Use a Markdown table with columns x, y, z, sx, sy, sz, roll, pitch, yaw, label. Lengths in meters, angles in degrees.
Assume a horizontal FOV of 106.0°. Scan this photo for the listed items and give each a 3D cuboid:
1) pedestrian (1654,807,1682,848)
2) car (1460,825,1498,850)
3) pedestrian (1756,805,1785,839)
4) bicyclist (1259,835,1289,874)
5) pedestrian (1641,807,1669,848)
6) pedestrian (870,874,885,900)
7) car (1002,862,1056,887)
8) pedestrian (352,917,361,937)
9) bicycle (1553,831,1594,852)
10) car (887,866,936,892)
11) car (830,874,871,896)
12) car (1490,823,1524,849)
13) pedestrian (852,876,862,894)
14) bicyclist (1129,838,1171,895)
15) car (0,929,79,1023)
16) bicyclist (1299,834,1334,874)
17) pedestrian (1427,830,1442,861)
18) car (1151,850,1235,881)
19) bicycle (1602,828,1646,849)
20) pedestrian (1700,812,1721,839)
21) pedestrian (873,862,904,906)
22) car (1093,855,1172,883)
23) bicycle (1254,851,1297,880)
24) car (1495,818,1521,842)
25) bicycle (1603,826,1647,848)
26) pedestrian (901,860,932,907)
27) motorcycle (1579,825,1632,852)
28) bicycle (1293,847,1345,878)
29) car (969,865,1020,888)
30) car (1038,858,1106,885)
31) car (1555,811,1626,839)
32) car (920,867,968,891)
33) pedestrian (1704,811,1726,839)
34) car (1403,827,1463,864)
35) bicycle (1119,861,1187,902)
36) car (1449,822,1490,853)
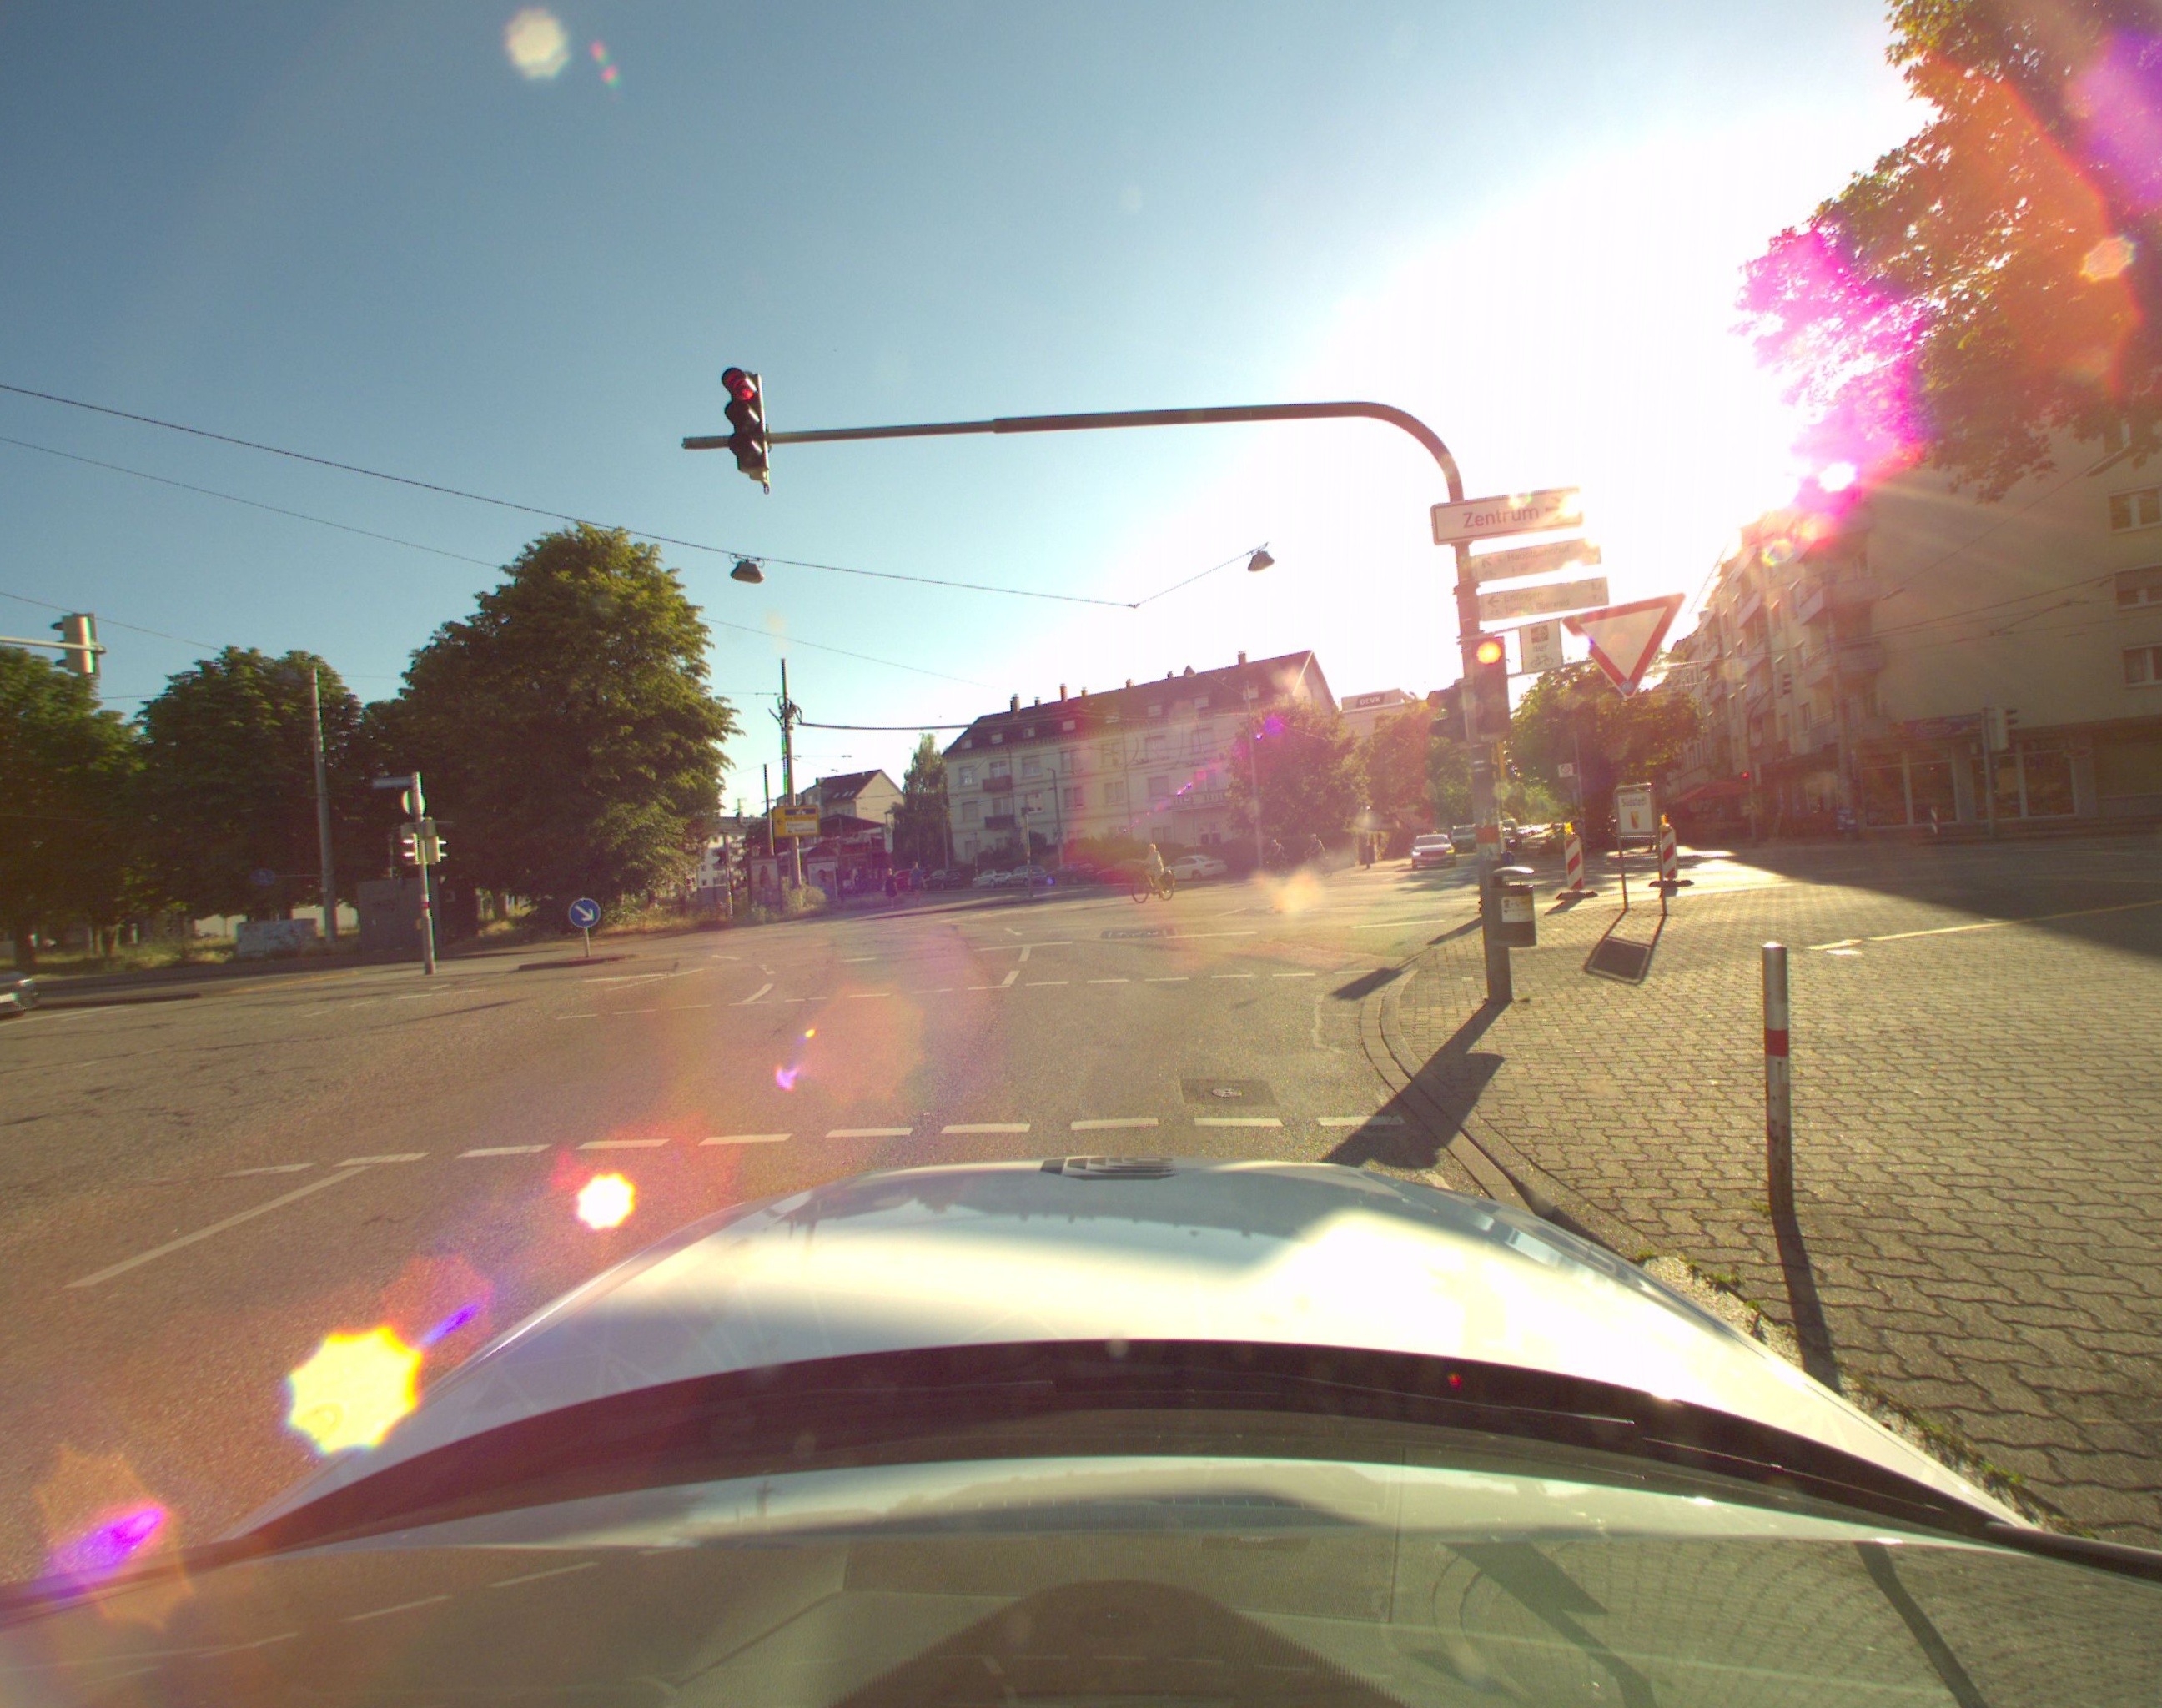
| x | y | z | sx | sy | sz | roll | pitch | yaw | label |
| --- | --- | --- | --- | --- | --- | --- | --- | --- | --- |
| 25.845 | -1.174 | 35.855 | 0.799 | 1.750 | 0.685 | -4 | -1 | -38 | pedestrian |
| 31.695 | -1.335 | 64.749 | 2.332 | 1.795 | 5.343 | -5 | -1 | 28 | car |
| 33.762 | -1.556 | 39.888 | 0.804 | 1.544 | 0.919 | -5 | -1 | 25 | pedestrian |
| 8.057 | 0.017 | 33.960 | 1.043 | 1.532 | 0.653 | -4 | -1 | -42 | bicyclist |
| 25.970 | -1.202 | 36.845 | 0.799 | 1.750 | 0.710 | -4 | -1 | -38 | pedestrian |
| -16.503 | 2.646 | 66.055 | 0.928 | 2.013 | 0.761 | -4 | 0 | -34 | pedestrian |
| -3.741 | 1.459 | 58.117 | 1.998 | 1.447 | 3.676 | -7 | 1 | -39 | car |
| -58.602 | 5.905 | 65.877 | 0.406 | 1.507 | 0.370 | -4 | -1 | -26 | pedestrian |
| 24.921 | -0.639 | 41.197 | 1.707 | 0.932 | 0.676 | -5 | -1 | 31 | bicycle |
| -15.199 | 2.234 | 72.765 | 2.067 | 1.961 | 5.091 | -7 | 1 | -39 | car |
| -23.839 | 3.196 | 83.951 | 2.067 | 1.961 | 5.091 | -7 | 1 | -39 | car |
| 29.960 | -1.263 | 57.214 | 1.875 | 1.564 | 4.420 | -6 | -1 | 30 | car |
| -18.470 | 2.551 | 67.038 | 0.569 | 1.500 | 0.672 | -4 | -1 | -27 | pedestrian |
| 2.046 | 0.383 | 24.125 | 0.860 | 1.605 | 0.769 | -4 | -1 | -31 | bicyclist |
| -21.394 | 2.368 | 14.634 | 4.415 | 1.567 | 2.057 | -4 | 0 | 5 | car |
| 9.432 | -0.003 | 32.611 | 1.040 | 1.532 | 0.692 | -4 | -1 | -28 | bicyclist |
| 21.865 | -0.518 | 50.334 | 0.655 | 1.839 | 0.687 | -4 | -1 | 30 | pedestrian |
| 6.273 | 0.674 | 46.126 | 1.941 | 1.376 | 4.443 | -7 | 1 | -40 | car |
| 26.870 | -0.771 | 40.321 | 1.707 | 0.932 | 0.565 | -5 | -1 | 31 | bicycle |
| 34.057 | -1.525 | 44.061 | 0.803 | 1.362 | 0.920 | -5 | -1 | 36 | pedestrian |
| -8.032 | 1.238 | 34.042 | 0.908 | 1.747 | 1.068 | -4 | -1 | 2 | pedestrian |
| 3.126 | 0.944 | 50.197 | 1.999 | 1.376 | 4.647 | -7 | 1 | -44 | car |
| 8.105 | 0.486 | 33.956 | 2.031 | 1.069 | 0.655 | -4 | -1 | -43 | bicycle |
| 47.952 | -2.697 | 91.342 | 2.332 | 2.514 | 5.343 | -5 | -1 | 28 | car |
| 26.472 | -0.818 | 39.657 | 1.707 | 0.932 | 0.565 | -5 | -1 | 31 | bicycle |
| -6.999 | 1.236 | 34.714 | 0.908 | 1.925 | 1.068 | -4 | -1 | 2 | pedestrian |
| 24.970 | -0.717 | 38.803 | 1.933 | 1.109 | 0.842 | -5 | -1 | 26 | motorcycle |
| 9.524 | 0.347 | 32.552 | 2.024 | 1.069 | 0.658 | -4 | -1 | -27 | bicycle |
| -6.584 | 1.730 | 61.678 | 1.855 | 1.447 | 3.912 | -7 | 1 | -39 | car |
| -0.666 | 1.198 | 54.798 | 1.998 | 1.447 | 4.650 | -7 | 1 | -39 | car |
| 44.686 | -2.510 | 71.615 | 5.042 | 1.924 | 2.377 | -5 | -2 | 28 | car |
| -11.403 | 2.076 | 67.631 | 1.855 | 1.667 | 4.319 | -7 | 1 | -39 | car |
| 33.378 | -1.529 | 42.906 | 0.803 | 1.362 | 0.920 | -5 | -1 | 36 | pedestrian |
| 15.201 | -0.328 | 35.358 | 1.876 | 1.486 | 4.017 | -1 | -1 | 16 | car |
| 2.141 | 0.802 | 24.054 | 2.028 | 1.069 | 0.656 | -4 | -1 | -36 | bicycle |
| 28.391 | -1.232 | 59.444 | 2.332 | 2.013 | 5.343 | -5 | -1 | 28 | car |
